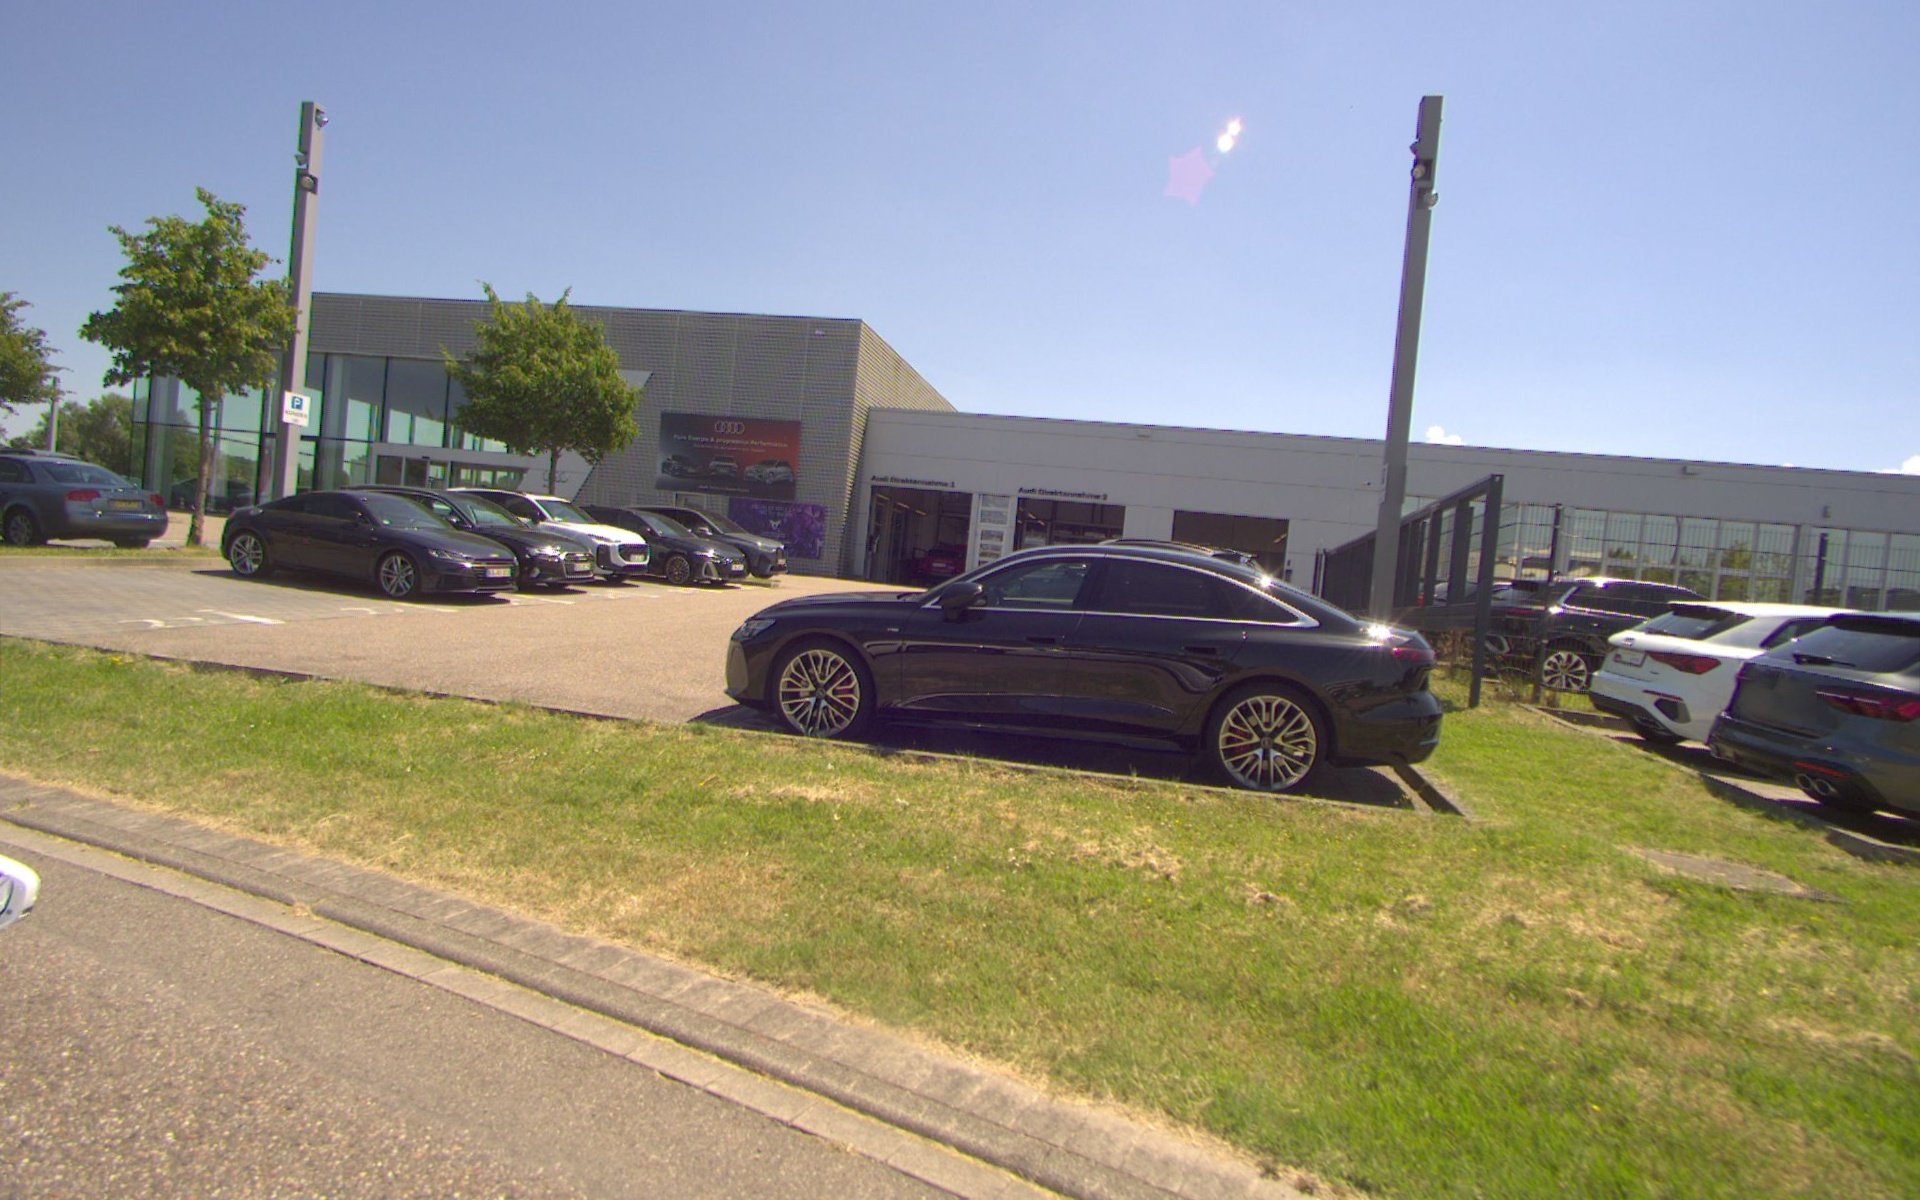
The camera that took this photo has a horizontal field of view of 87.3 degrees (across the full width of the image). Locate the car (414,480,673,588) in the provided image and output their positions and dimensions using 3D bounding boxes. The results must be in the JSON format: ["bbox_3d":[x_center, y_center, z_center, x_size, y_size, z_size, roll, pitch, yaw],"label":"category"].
[{"bbox_3d":[-8.084,-1.255,19.679,4.206,1.635,1.966,6,2,11],"label":"car"}]

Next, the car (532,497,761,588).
[{"bbox_3d":[-6.807,-1.235,22.036,4.288,1.497,1.966,6,2,11],"label":"car"}]

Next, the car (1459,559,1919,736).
[{"bbox_3d":[9.314,0.531,13.109,4.537,1.652,1.966,6,2,11],"label":"car"}]

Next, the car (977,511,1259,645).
[{"bbox_3d":[2.645,-0.365,17.037,4.332,1.716,1.830,6,1,11],"label":"car"}]

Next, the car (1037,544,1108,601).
[{"bbox_3d":[4.153,-1.023,36.548,1.930,1.767,4.247,6,4,13],"label":"car"}]

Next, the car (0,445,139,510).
[{"bbox_3d":[-28.221,-3.800,30.937,4.890,1.642,1.967,4,2,12],"label":"car"}]

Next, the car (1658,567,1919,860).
[{"bbox_3d":[7.240,0.794,5.730,4.850,1.487,1.966,6,2,11],"label":"car"}]

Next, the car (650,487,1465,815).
[{"bbox_3d":[0.576,0.223,7.149,4.927,1.475,1.884,6,3,11],"label":"car"}]

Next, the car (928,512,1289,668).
[{"bbox_3d":[2.094,-0.179,14.469,4.694,1.665,1.829,6,2,11],"label":"car"}]

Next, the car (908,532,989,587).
[{"bbox_3d":[-0.354,-1.519,37.773,1.930,1.767,4.316,6,4,13],"label":"car"}]

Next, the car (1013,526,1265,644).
[{"bbox_3d":[3.515,-0.345,19.974,4.537,1.767,1.965,6,4,11],"label":"car"}]

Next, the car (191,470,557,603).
[{"bbox_3d":[-8.289,-0.879,14.400,4.229,1.393,1.966,6,2,11],"label":"car"}]

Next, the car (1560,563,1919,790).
[{"bbox_3d":[8.107,0.720,8.390,4.850,1.549,1.824,6,2,11],"label":"car"}]

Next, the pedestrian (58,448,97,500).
[{"bbox_3d":[-32.933,-4.697,37.550,0.731,1.799,0.772,6,2,17],"label":"pedestrian"}]

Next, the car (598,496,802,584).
[{"bbox_3d":[-6.719,-1.534,26.156,4.638,1.763,1.966,6,3,11],"label":"car"}]

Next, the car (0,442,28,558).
[{"bbox_3d":[-15.393,-1.572,13.685,4.146,1.593,1.891,6,4,11],"label":"car"}]

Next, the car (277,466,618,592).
[{"bbox_3d":[-8.604,-1.178,17.044,4.909,1.574,1.966,6,2,11],"label":"car"}]

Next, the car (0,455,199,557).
[{"bbox_3d":[-14.844,-1.579,16.091,4.146,1.386,1.965,6,4,11],"label":"car"}]

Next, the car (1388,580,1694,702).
[{"bbox_3d":[10.430,0.672,18.428,4.294,1.652,1.966,6,2,11],"label":"car"}]
